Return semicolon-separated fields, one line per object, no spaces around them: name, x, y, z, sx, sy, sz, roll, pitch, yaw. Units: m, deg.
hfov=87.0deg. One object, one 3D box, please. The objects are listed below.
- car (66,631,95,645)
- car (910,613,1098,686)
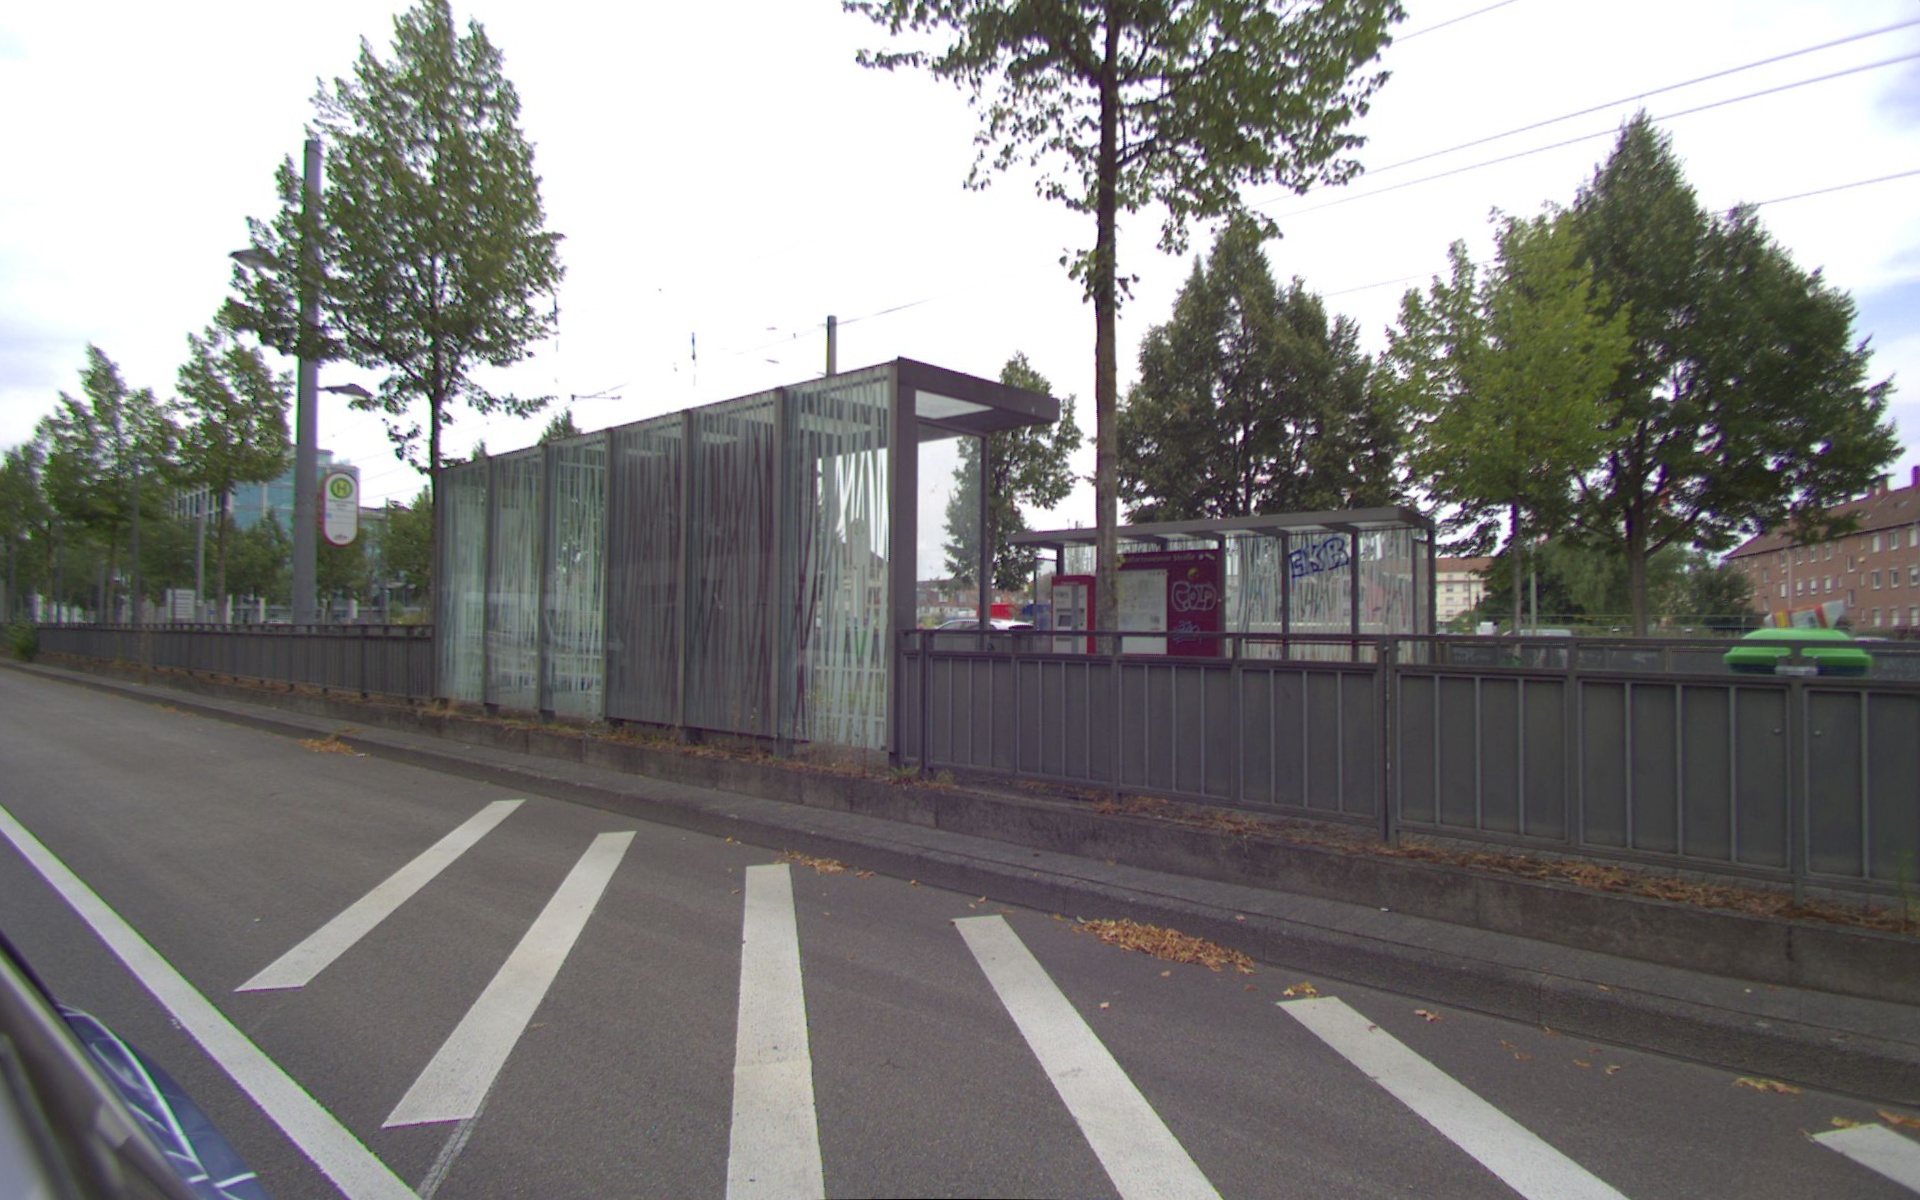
car;-106.900;4.658;122.967;4.686;1.669;1.809;-2;-3;39
car;1.008;1.179;24.846;4.383;1.630;1.972;-2;-3;42
